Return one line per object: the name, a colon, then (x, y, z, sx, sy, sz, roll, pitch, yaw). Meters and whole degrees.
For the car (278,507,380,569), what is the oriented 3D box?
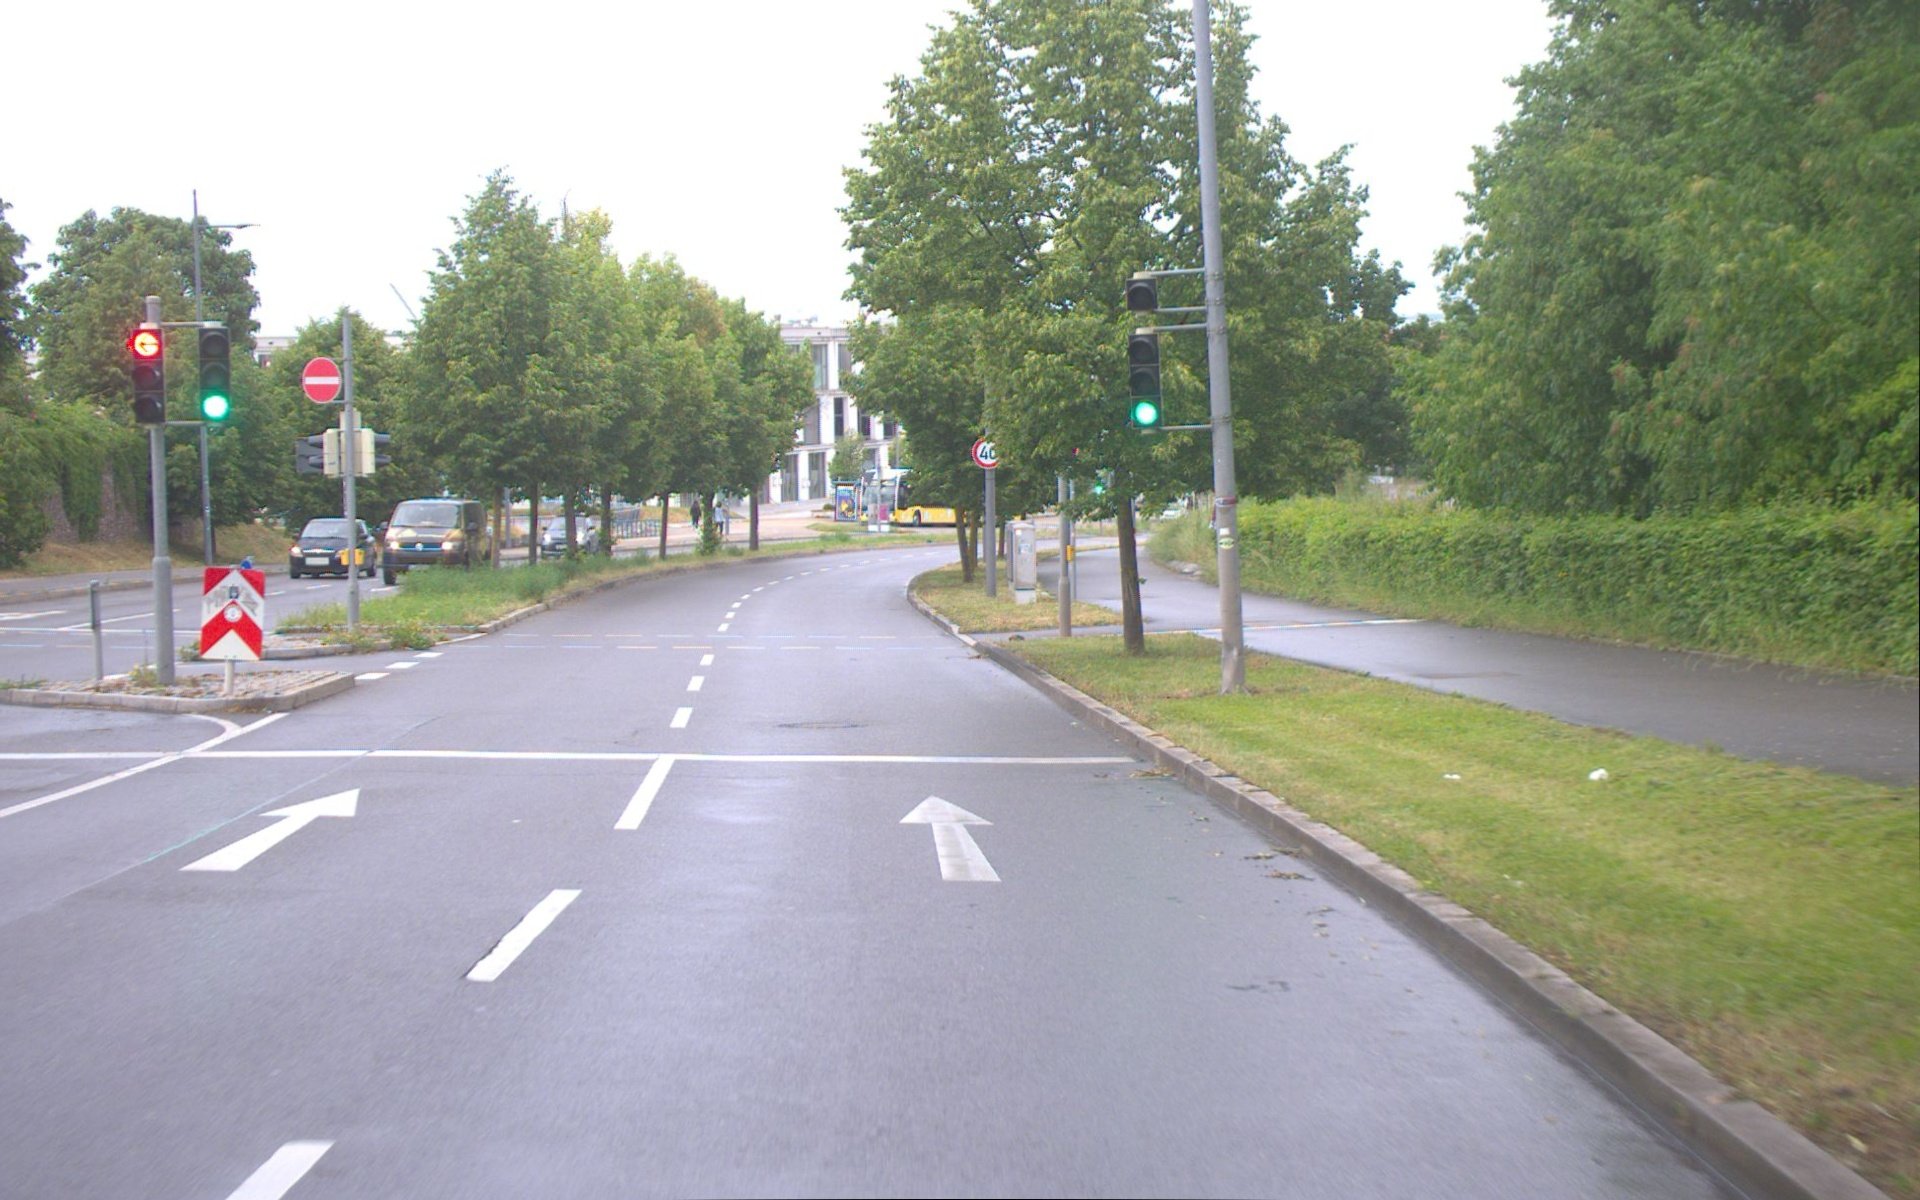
car: (-15.560, -1.538, 84.933, 1.598, 1.484, 4.000, 1, 2, 3)

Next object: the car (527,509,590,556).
car: (-14.030, -2.370, 120.257, 1.686, 1.534, 2.916, 1, 2, 4)

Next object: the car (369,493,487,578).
car: (-12.409, -1.515, 80.469, 2.013, 1.912, 5.096, 0, 1, -1)

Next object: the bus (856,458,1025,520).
bus: (-1.004, -6.689, 209.513, 2.788, 3.345, 18.202, 1, 1, 25)
